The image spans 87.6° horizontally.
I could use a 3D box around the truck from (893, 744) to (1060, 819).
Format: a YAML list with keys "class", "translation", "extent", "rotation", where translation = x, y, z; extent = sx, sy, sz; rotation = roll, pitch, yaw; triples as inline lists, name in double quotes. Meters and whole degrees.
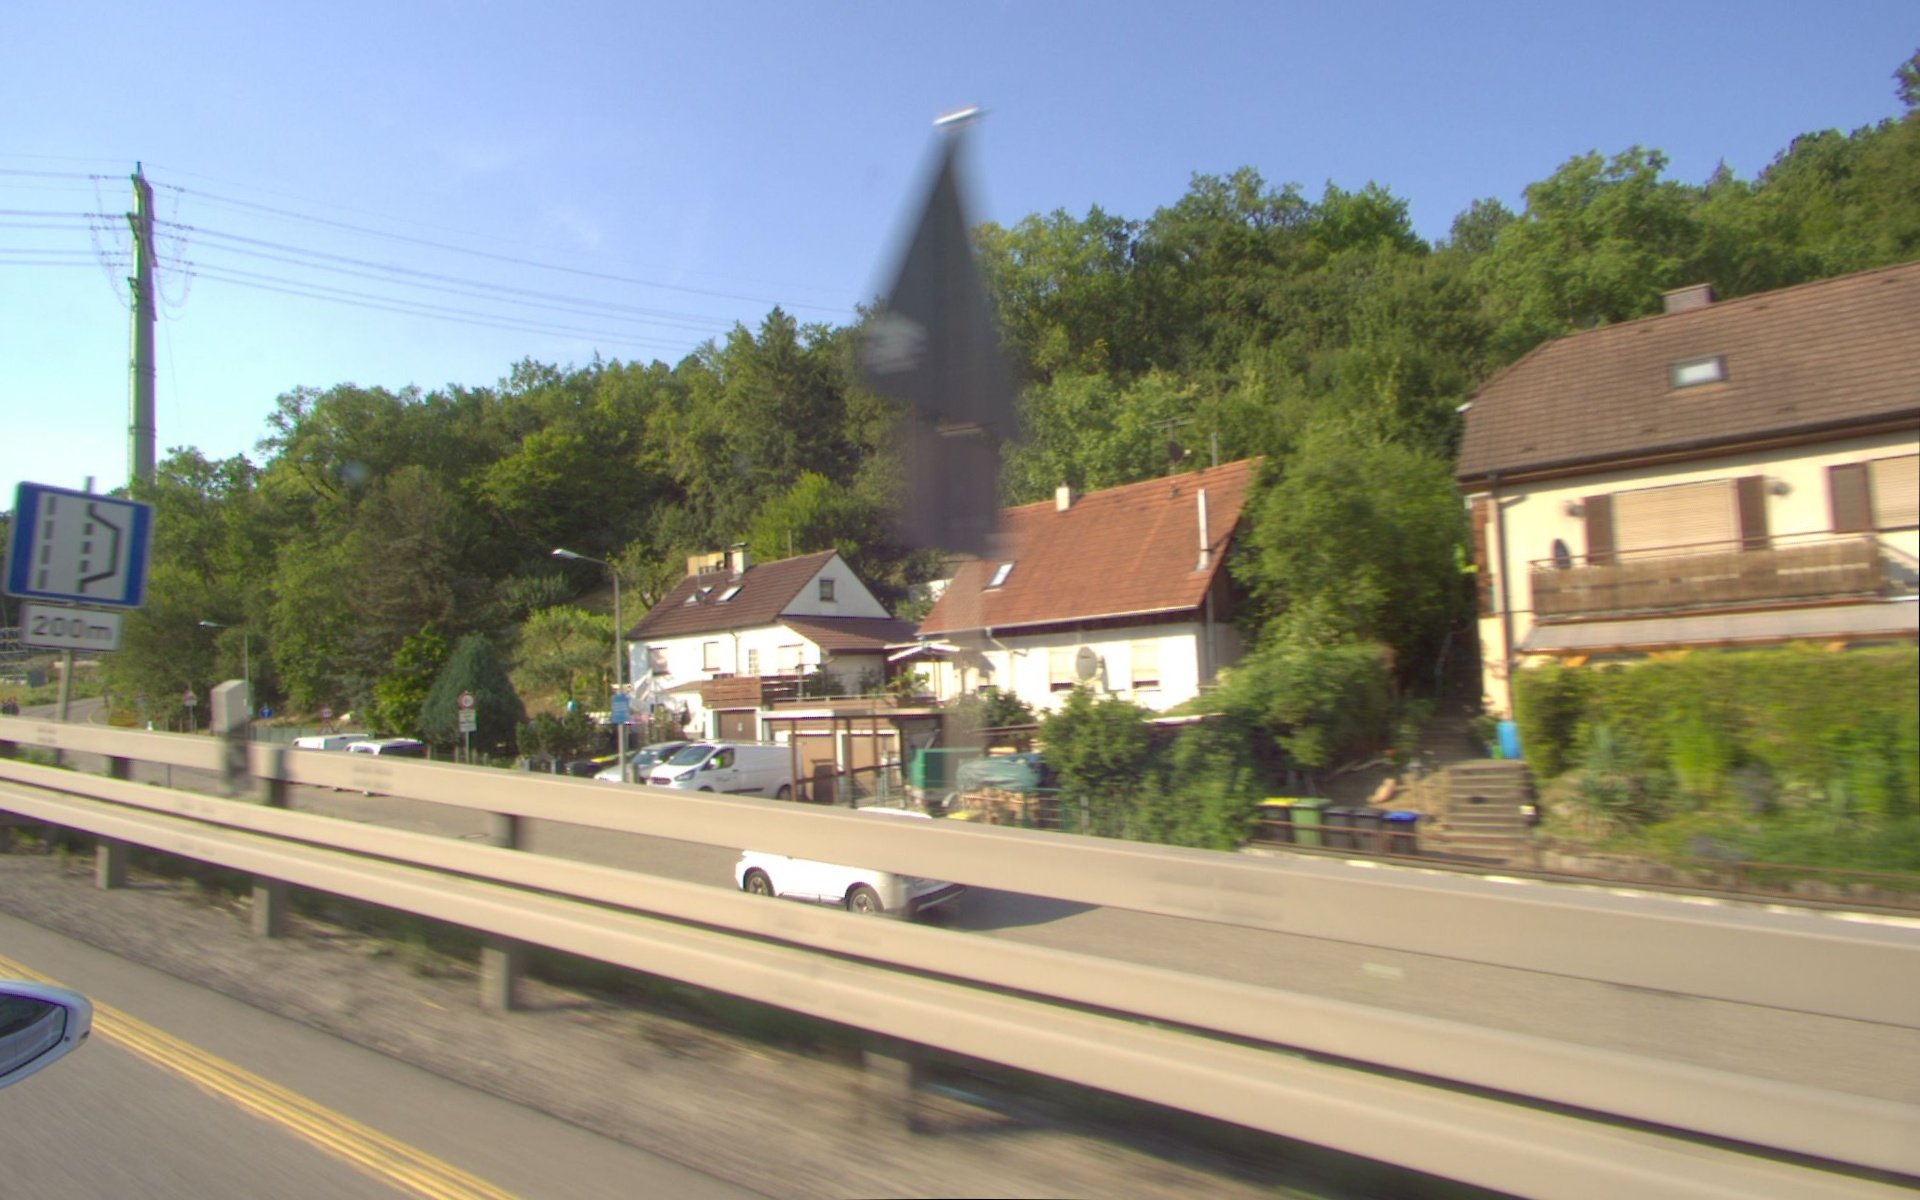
- class: "truck"
  translation: [0.366, 4.616, 25.716]
  extent: [3.927, 1.756, 2.003]
  rotation: [1, -8, -13]

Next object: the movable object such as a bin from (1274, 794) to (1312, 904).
- class: "movable object such as a bin"
  translation: [5.737, 4.265, 17.244]
  extent: [0.412, 1.788, 0.528]
  rotation: [-4, -12, 42]

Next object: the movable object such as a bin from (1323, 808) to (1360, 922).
- class: "movable object such as a bin"
  translation: [6.338, 4.385, 16.639]
  extent: [0.409, 1.788, 0.488]
  rotation: [-4, -12, 42]

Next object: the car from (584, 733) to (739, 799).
- class: "car"
  translation: [-10.043, 5.571, 34.129]
  extent: [1.694, 1.576, 5.074]
  rotation: [-3, -3, 36]

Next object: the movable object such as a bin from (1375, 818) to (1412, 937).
- class: "movable object such as a bin"
  translation: [6.960, 4.436, 16.063]
  extent: [0.409, 1.788, 0.488]
  rotation: [-4, -12, 42]

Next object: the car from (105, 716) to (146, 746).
- class: "car"
  translation: [-53.271, 8.350, 63.895]
  extent: [4.224, 1.480, 1.517]
  rotation: [-2, -1, 44]

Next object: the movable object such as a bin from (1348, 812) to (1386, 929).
- class: "movable object such as a bin"
  translation: [6.645, 4.399, 16.344]
  extent: [0.409, 1.788, 0.488]
  rotation: [-4, -12, 42]

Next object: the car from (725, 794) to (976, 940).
- class: "car"
  translation: [-1.993, 4.490, 17.397]
  extent: [4.418, 1.683, 1.661]
  rotation: [-4, -2, 38]

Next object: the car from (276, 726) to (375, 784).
- class: "car"
  translation: [-26.295, 6.338, 41.408]
  extent: [4.991, 2.011, 1.855]
  rotation: [-4, -2, 38]

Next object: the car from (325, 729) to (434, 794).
- class: "car"
  translation: [-21.799, 5.983, 37.518]
  extent: [4.809, 1.941, 1.986]
  rotation: [-4, -2, 40]

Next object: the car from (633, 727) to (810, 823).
- class: "car"
  translation: [-7.364, 5.390, 31.539]
  extent: [1.975, 2.292, 5.450]
  rotation: [-3, -3, 36]

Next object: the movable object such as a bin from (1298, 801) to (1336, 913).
- class: "movable object such as a bin"
  translation: [6.040, 4.325, 16.939]
  extent: [0.404, 1.788, 0.534]
  rotation: [-4, -12, 42]
